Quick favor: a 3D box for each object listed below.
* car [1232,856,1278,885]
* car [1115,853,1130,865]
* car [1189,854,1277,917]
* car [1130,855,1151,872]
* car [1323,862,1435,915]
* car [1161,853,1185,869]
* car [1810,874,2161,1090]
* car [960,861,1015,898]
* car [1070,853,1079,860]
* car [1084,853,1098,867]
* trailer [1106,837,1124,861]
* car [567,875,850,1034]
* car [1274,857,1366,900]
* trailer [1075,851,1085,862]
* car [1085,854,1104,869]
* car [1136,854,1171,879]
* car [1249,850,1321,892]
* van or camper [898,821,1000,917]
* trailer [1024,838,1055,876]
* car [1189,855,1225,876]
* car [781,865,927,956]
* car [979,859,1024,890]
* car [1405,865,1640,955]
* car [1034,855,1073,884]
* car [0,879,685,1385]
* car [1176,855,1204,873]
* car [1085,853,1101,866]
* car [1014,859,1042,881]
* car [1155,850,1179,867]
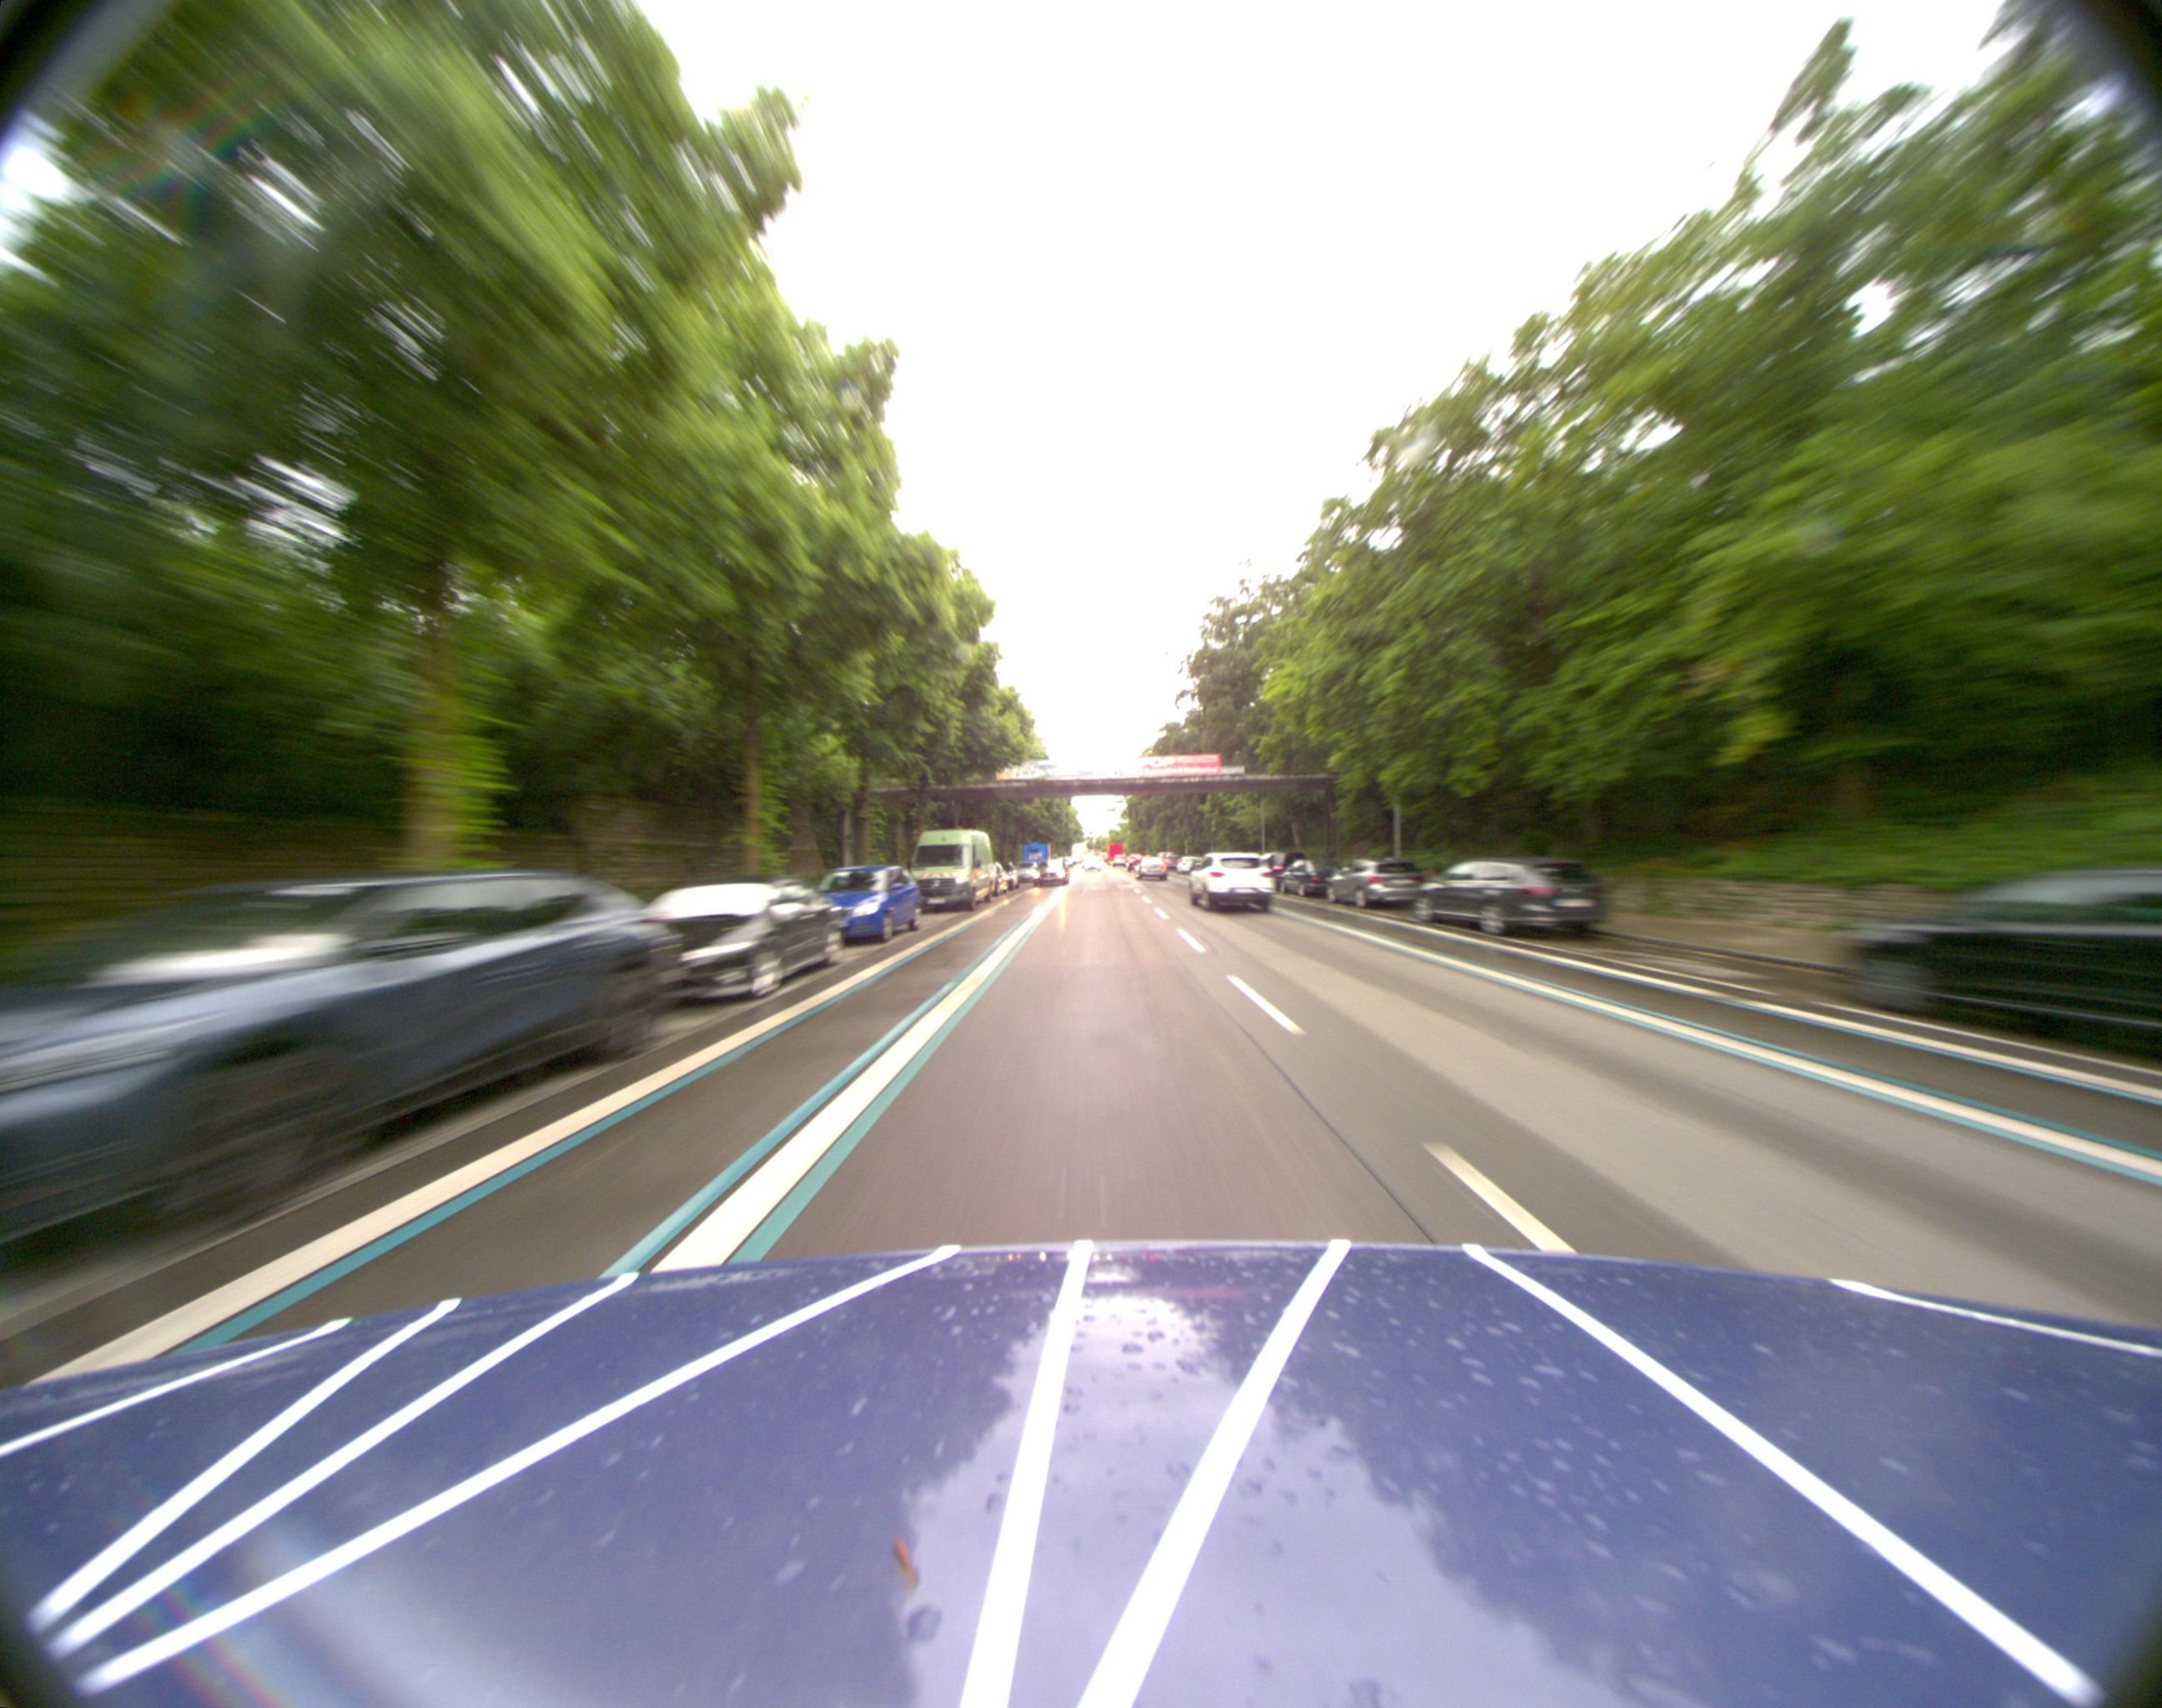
[{"bbox_3d":[9.195,0.865,40.386,1.613,1.430,3.844,-1,0,1],"label":"car"},{"bbox_3d":[5.902,0.641,108.145,1.838,1.656,4.180,1,0,1],"label":"car"},{"bbox_3d":[4.244,0.819,21.779,1.800,1.642,4.129,0,0,2],"label":"car"},{"bbox_3d":[5.852,0.903,74.902,1.970,1.618,4.322,0,0,4],"label":"car"},{"bbox_3d":[8.857,0.968,23.000,1.788,1.415,4.296,-1,0,1],"label":"car"},{"bbox_3d":[9.941,0.747,82.481,2.015,1.596,4.780,-1,0,0],"label":"car"},{"bbox_3d":[8.538,0.948,6.045,1.675,1.449,3.993,-1,0,0],"label":"car"},{"bbox_3d":[-4.014,1.071,33.101,1.690,1.408,4.100,-2,0,2],"label":"car"},{"bbox_3d":[-1.342,0.455,150.323,1.700,1.468,3.997,-1,0,-1],"label":"car"},{"bbox_3d":[1.353,0.763,100.279,1.850,1.719,3.730,-1,0,1],"label":"car"},{"bbox_3d":[6.307,-0.952,141.177,2.694,4.234,12.768,1,0,0],"label":"trailer"},{"bbox_3d":[-4.475,1.097,9.934,1.690,1.447,4.145,-3,0,-2],"label":"car"},{"bbox_3d":[9.074,0.896,29.347,1.988,1.464,4.898,-2,0,0],"label":"car"},{"bbox_3d":[-0.242,0.498,179.880,1.988,2.550,3.999,-2,0,-2],"label":"trailer"},{"bbox_3d":[1.453,0.785,81.236,1.998,1.588,4.000,-2,0,1],"label":"car"},{"bbox_3d":[4.626,0.781,49.189,1.926,1.551,4.621,0,0,1],"label":"car"},{"bbox_3d":[9.258,0.744,34.871,1.995,1.731,4.838,-1,0,0],"label":"car"},{"bbox_3d":[-4.234,0.438,25.679,2.047,2.713,6.900,-3,0,0],"label":"van or camper"},{"bbox_3d":[-3.103,0.219,57.087,1.957,2.742,4.007,-2,0,1],"label":"trailer"},{"bbox_3d":[9.173,0.821,55.441,1.836,1.468,4.040,-1,0,-2],"label":"car"},{"bbox_3d":[-4.495,1.048,15.644,1.690,1.505,3.835,-3,0,1],"label":"car"},{"bbox_3d":[-3.964,0.992,38.485,1.690,1.408,4.197,-2,0,2],"label":"car"},{"bbox_3d":[8.602,0.993,15.434,1.961,1.454,4.756,-1,0,-1],"label":"car"},{"bbox_3d":[-1.498,0.817,42.734,1.822,1.499,4.139,-1,0,2],"label":"car"},{"bbox_3d":[-4.550,1.059,4.633,1.760,1.580,4.498,-3,0,1],"label":"car"},{"bbox_3d":[9.411,0.871,65.958,1.794,1.473,3.982,-1,0,-1],"label":"car"},{"bbox_3d":[1.629,0.653,99.484,1.998,1.629,4.000,-1,0,2],"label":"car"},{"bbox_3d":[-3.463,1.018,50.232,1.588,1.345,3.862,-3,0,-1],"label":"car"},{"bbox_3d":[10.296,0.567,91.668,1.979,1.993,5.017,-2,0,-3],"label":"car"}]
